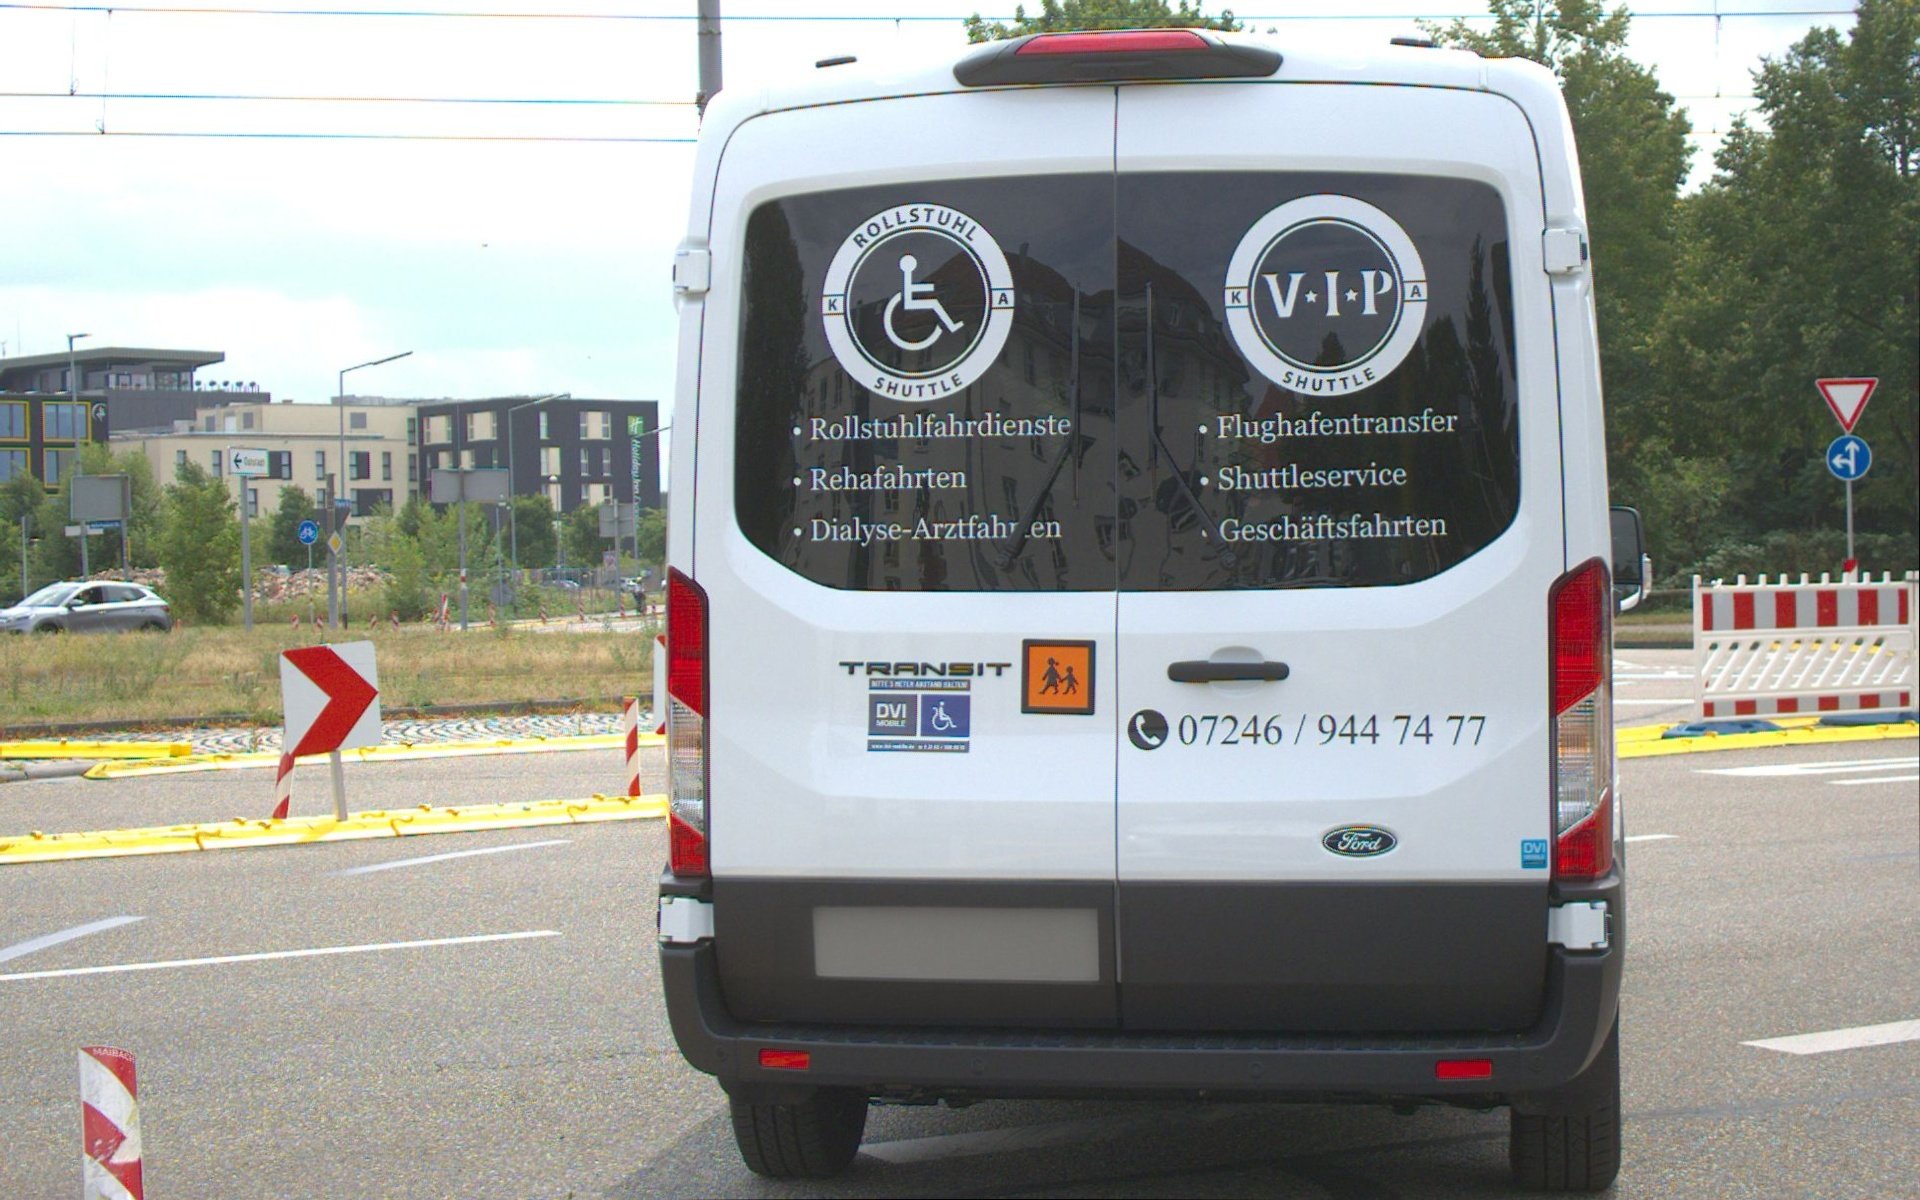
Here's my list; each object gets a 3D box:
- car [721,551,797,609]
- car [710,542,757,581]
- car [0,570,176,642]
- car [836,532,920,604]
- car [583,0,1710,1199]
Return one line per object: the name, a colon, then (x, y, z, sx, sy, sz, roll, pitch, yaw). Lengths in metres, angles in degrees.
car: (-6.674, -0.655, 114.506, 1.994, 1.842, 3.999, 0, -1, 5)
car: (-11.080, -1.879, 168.491, 1.993, 1.842, 4.000, 0, -1, 0)
car: (-18.721, 0.118, 72.258, 3.989, 1.458, 1.832, -1, 0, -44)
car: (-2.401, -0.904, 99.984, 1.993, 2.007, 4.001, 0, -1, -8)
car: (0.742, -0.006, 9.363, 2.127, 2.688, 5.630, -1, 0, 8)
